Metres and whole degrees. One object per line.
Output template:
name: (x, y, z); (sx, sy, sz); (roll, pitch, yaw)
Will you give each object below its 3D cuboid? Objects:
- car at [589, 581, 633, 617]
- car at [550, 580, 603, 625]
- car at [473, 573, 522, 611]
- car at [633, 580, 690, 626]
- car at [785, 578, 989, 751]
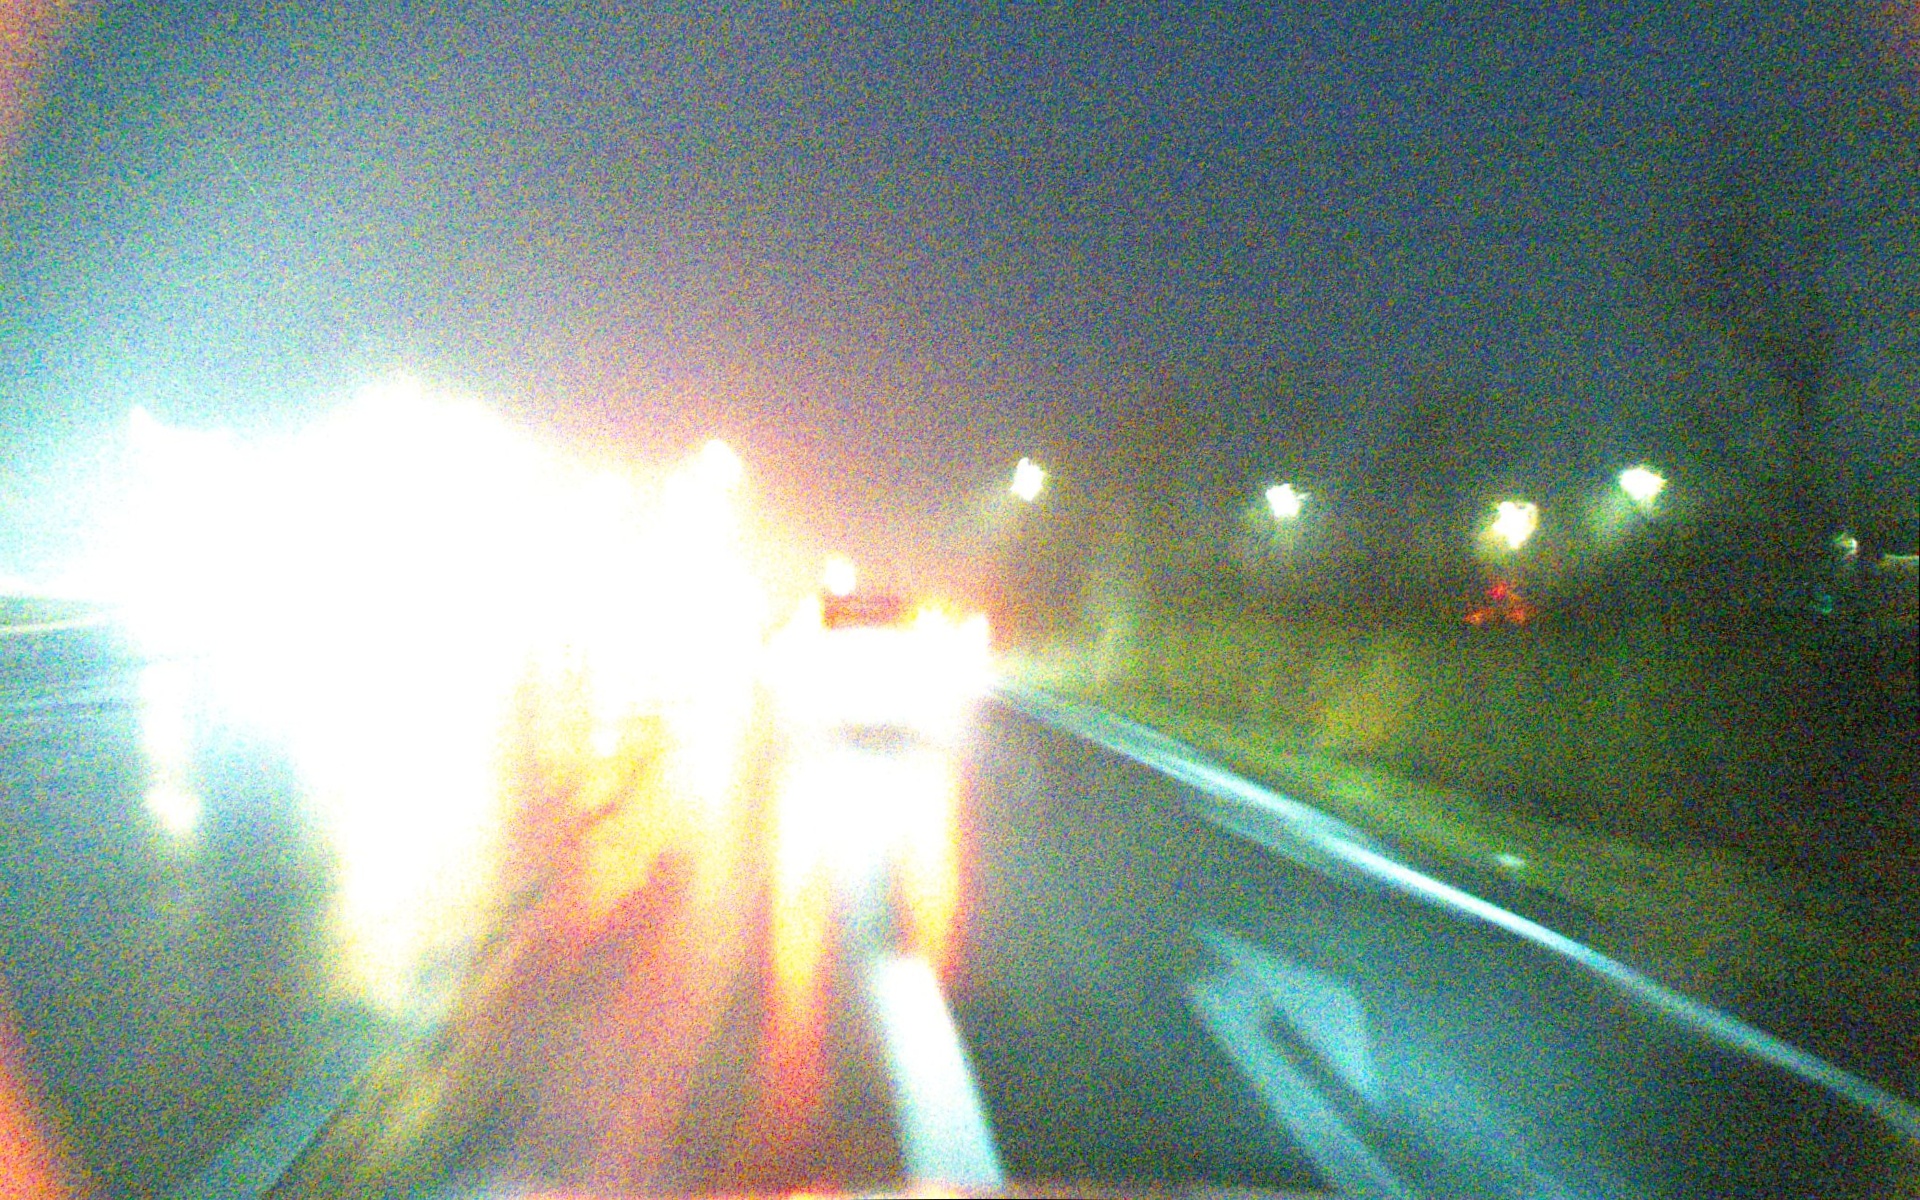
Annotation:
car: (-17.290, -0.084, 81.892); (1.960, 1.656, 4.968); (-2, 2, -13)
car: (-15.523, 0.061, 66.978); (1.960, 1.656, 4.968); (-2, 2, -13)
car: (-21.569, -0.407, 77.239); (1.960, 1.656, 4.968); (-2, 2, -13)
car: (-12.130, 0.085, 67.007); (1.960, 1.656, 4.968); (-2, 2, -13)
car: (-0.954, 0.652, 18.477); (1.955, 1.656, 4.977); (1, -1, -6)
